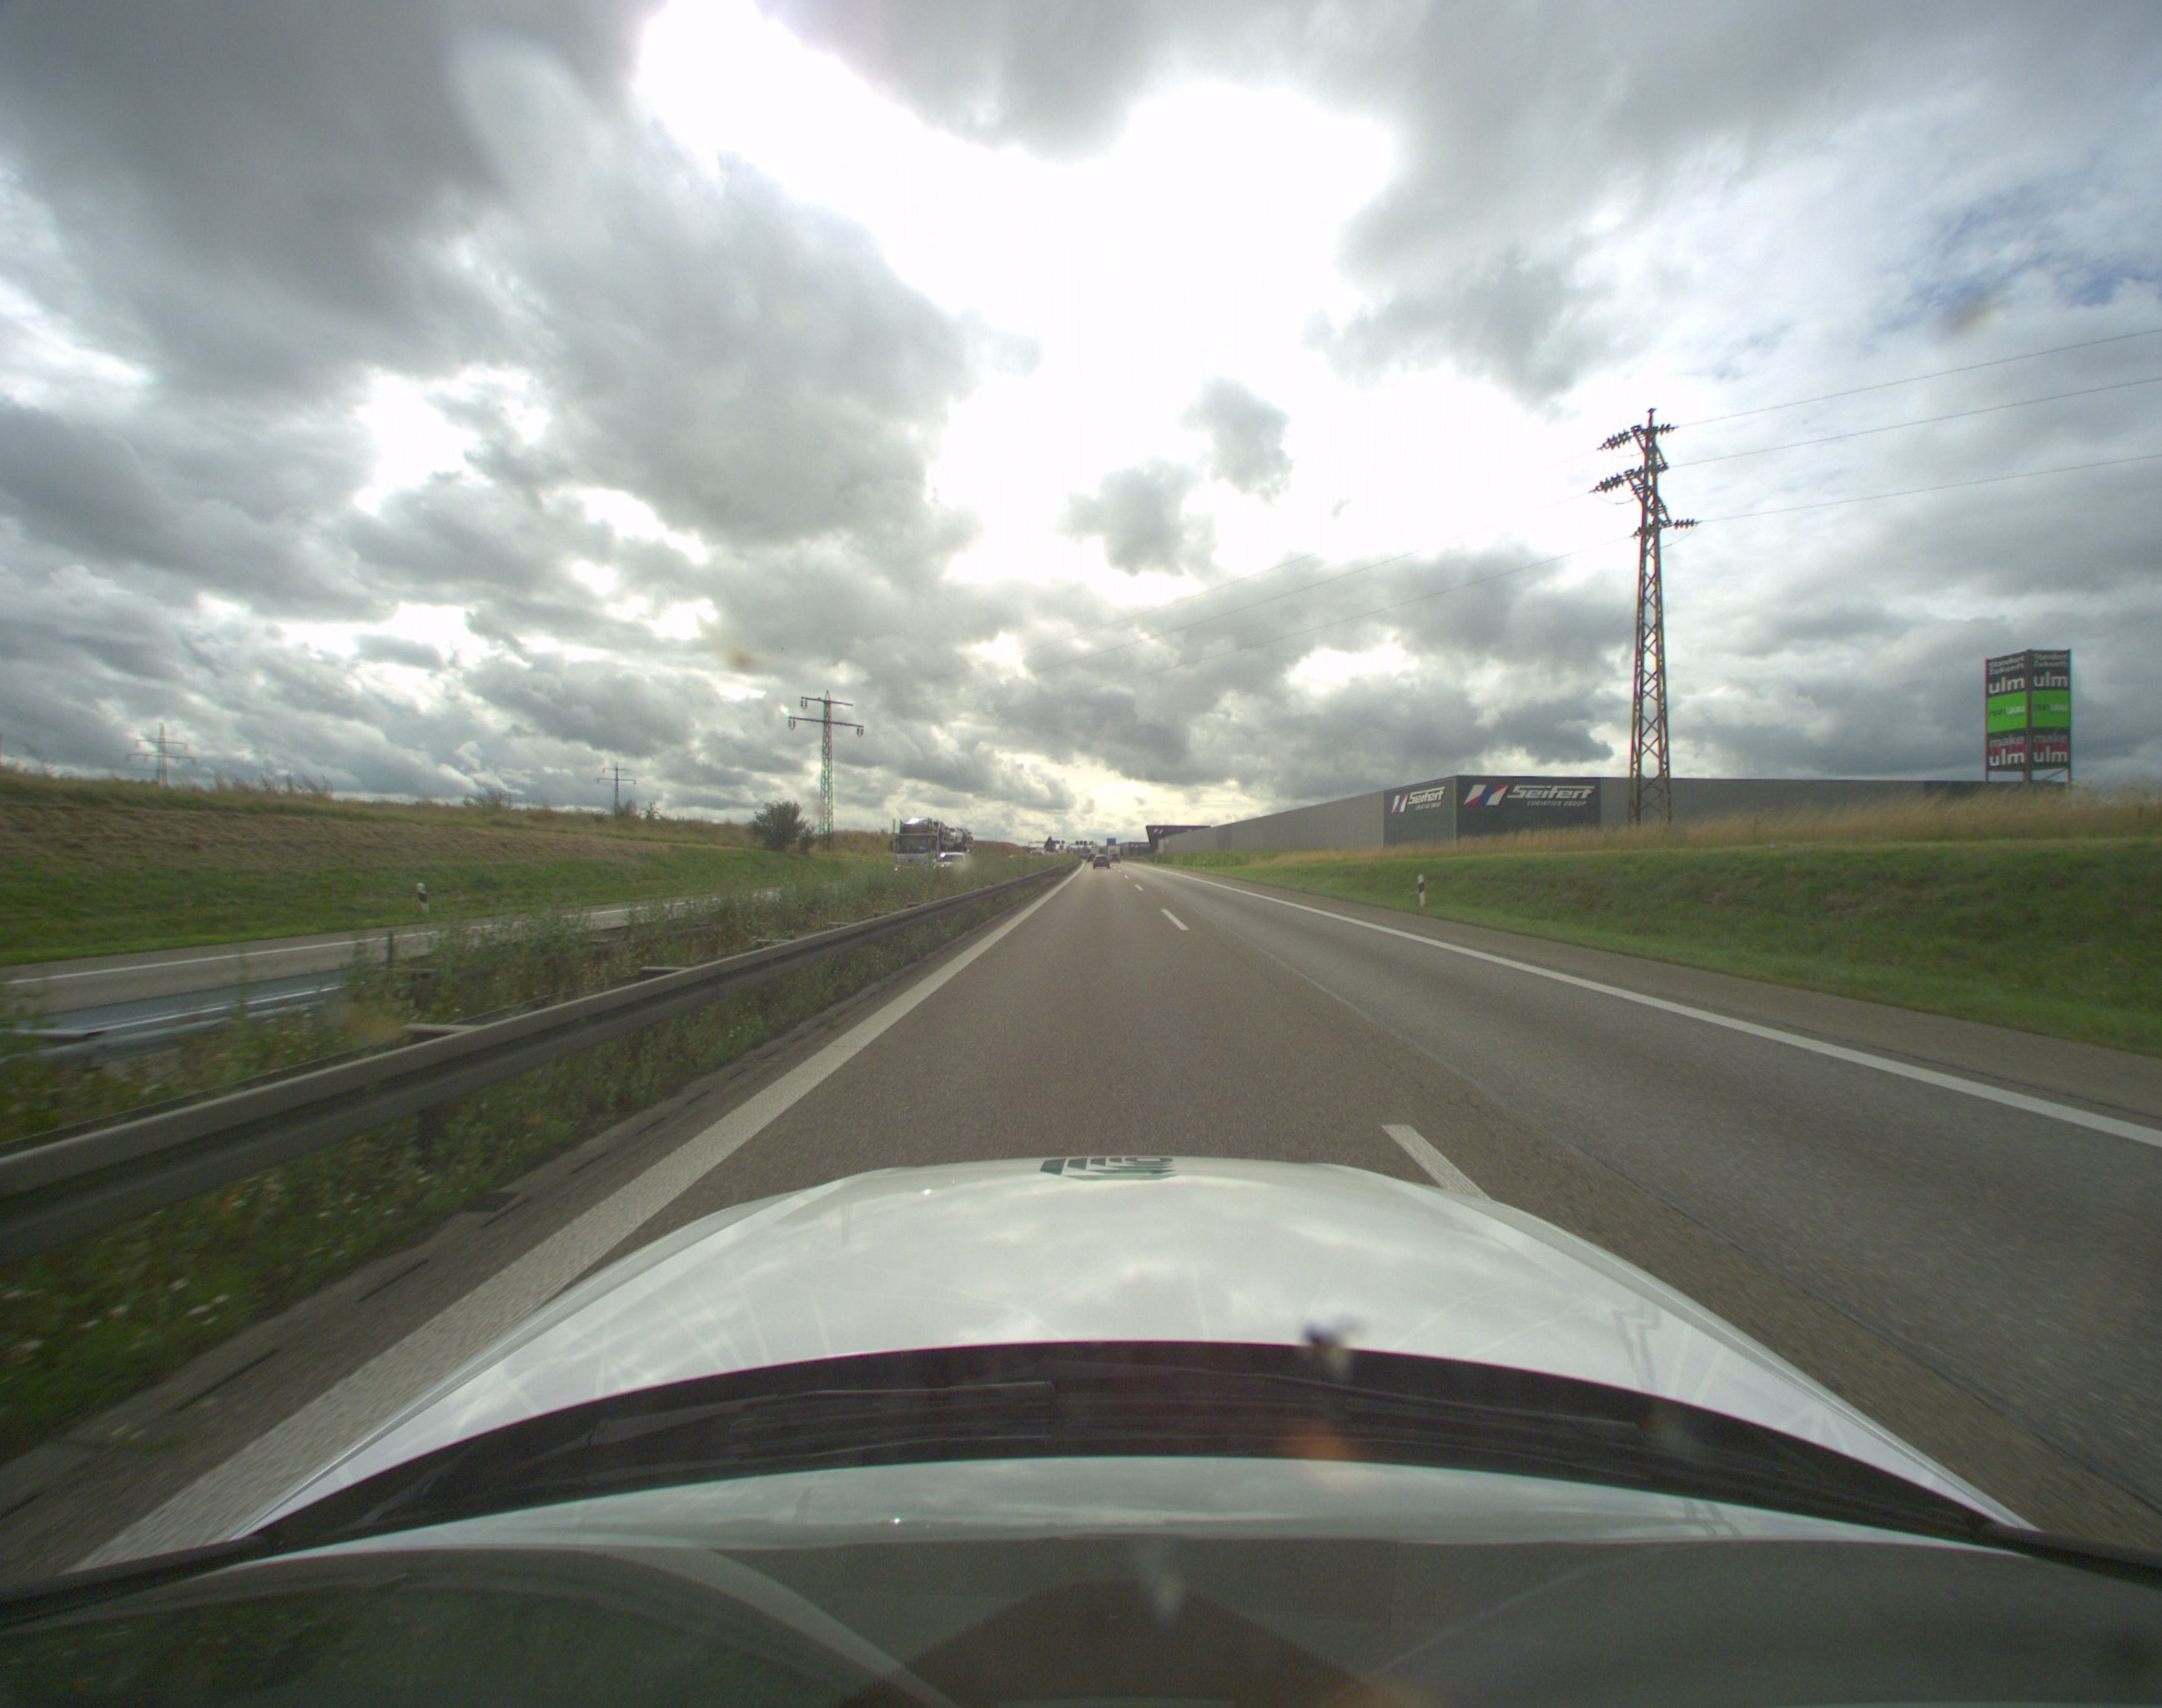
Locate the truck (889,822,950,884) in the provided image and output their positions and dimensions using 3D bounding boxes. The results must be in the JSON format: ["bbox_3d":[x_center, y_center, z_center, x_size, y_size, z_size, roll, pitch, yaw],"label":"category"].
[{"bbox_3d":[-10.731,-0.067,54.699,2.713,3.936,5.988,-1,0,1],"label":"truck"}]

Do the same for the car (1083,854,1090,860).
[{"bbox_3d":[1.699,0.960,243.848,1.936,1.775,3.697,0,0,1],"label":"car"}]

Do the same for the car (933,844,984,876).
[{"bbox_3d":[-6.684,0.324,44.825,1.986,1.662,4.304,0,0,2],"label":"car"}]

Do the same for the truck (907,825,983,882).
[{"bbox_3d":[-10.513,-0.047,65.481,2.713,3.936,17.407,-1,0,2],"label":"truck"}]

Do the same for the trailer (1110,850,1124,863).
[{"bbox_3d":[6.414,0.462,145.689,2.331,2.136,3.999,0,0,-1],"label":"trailer"}]

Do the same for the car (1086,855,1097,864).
[{"bbox_3d":[1.924,1.067,154.282,1.939,1.685,3.999,0,0,0],"label":"car"}]

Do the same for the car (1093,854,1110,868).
[{"bbox_3d":[2.170,0.704,87.243,1.741,1.453,3.999,0,0,0],"label":"car"}]

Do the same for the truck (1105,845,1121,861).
[{"bbox_3d":[6.029,-0.241,152.562,2.476,2.950,5.809,0,0,-3],"label":"truck"}]
